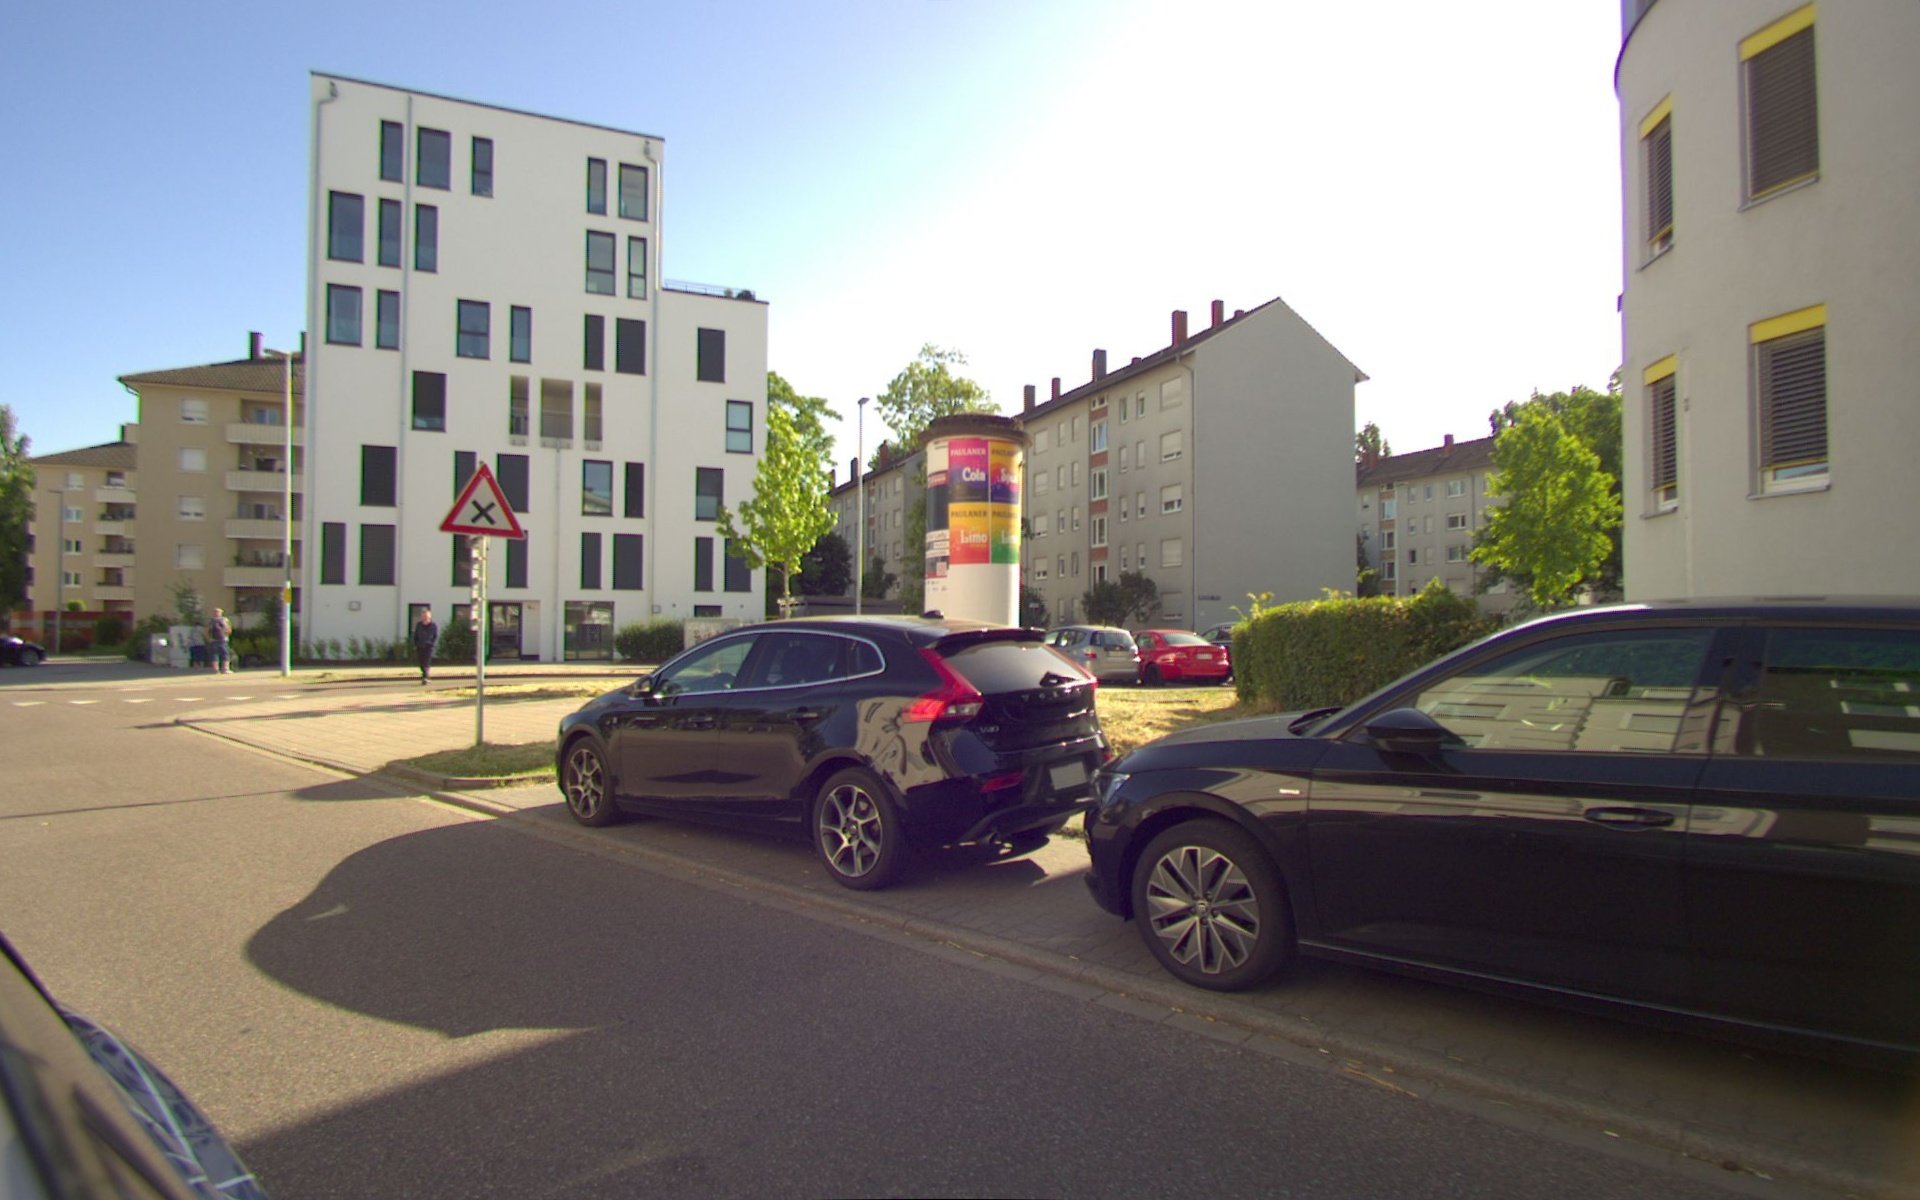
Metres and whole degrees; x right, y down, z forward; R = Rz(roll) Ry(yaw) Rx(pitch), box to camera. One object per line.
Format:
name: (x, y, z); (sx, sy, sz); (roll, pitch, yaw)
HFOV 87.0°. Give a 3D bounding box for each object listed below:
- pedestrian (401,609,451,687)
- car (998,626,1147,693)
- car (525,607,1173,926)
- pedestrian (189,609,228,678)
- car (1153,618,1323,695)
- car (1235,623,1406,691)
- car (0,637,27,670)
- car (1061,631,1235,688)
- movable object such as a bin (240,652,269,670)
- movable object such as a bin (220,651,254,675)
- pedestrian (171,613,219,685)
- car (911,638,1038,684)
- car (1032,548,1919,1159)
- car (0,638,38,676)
pedestrian: (-12.174, 1.091, 23.092); (0.962, 1.727, 0.876); (1, -3, -27)
car: (2.681, 1.411, 25.015); (1.698, 1.503, 4.115); (2, -2, -26)
car: (-0.939, 0.805, 6.577); (4.220, 1.421, 1.771); (-2, -2, 40)
pedestrian: (-21.029, 1.211, 28.333); (0.778, 1.899, 0.849); (2, -1, -33)
car: (7.214, 1.422, 26.736); (1.965, 1.778, 4.307); (2, -1, -25)
car: (9.890, 1.590, 28.137); (1.965, 1.712, 4.306); (2, -4, -25)
car: (-36.402, 1.966, 35.945); (1.979, 1.176, 4.546); (-1, -1, 12)
car: (4.604, 1.479, 25.610); (1.699, 1.284, 4.901); (2, -3, -27)
movable object such as a bin: (-22.121, 1.908, 31.732); (0.676, 0.546, 0.272); (1, -2, -2)
movable object such as a bin: (-21.464, 1.857, 30.039); (0.839, 0.685, 0.272); (1, -2, 8)
pedestrian: (-23.310, 1.489, 30.848); (0.951, 2.137, 0.770); (-2, -2, 20)
car: (0.496, 2.059, 34.243); (3.930, 1.431, 1.678); (2, -1, -25)
car: (2.570, 0.646, 3.530); (4.377, 1.490, 1.889); (-1, -2, 40)
car: (-38.329, 2.186, 38.481); (1.979, 1.442, 4.546); (-1, -3, 12)
